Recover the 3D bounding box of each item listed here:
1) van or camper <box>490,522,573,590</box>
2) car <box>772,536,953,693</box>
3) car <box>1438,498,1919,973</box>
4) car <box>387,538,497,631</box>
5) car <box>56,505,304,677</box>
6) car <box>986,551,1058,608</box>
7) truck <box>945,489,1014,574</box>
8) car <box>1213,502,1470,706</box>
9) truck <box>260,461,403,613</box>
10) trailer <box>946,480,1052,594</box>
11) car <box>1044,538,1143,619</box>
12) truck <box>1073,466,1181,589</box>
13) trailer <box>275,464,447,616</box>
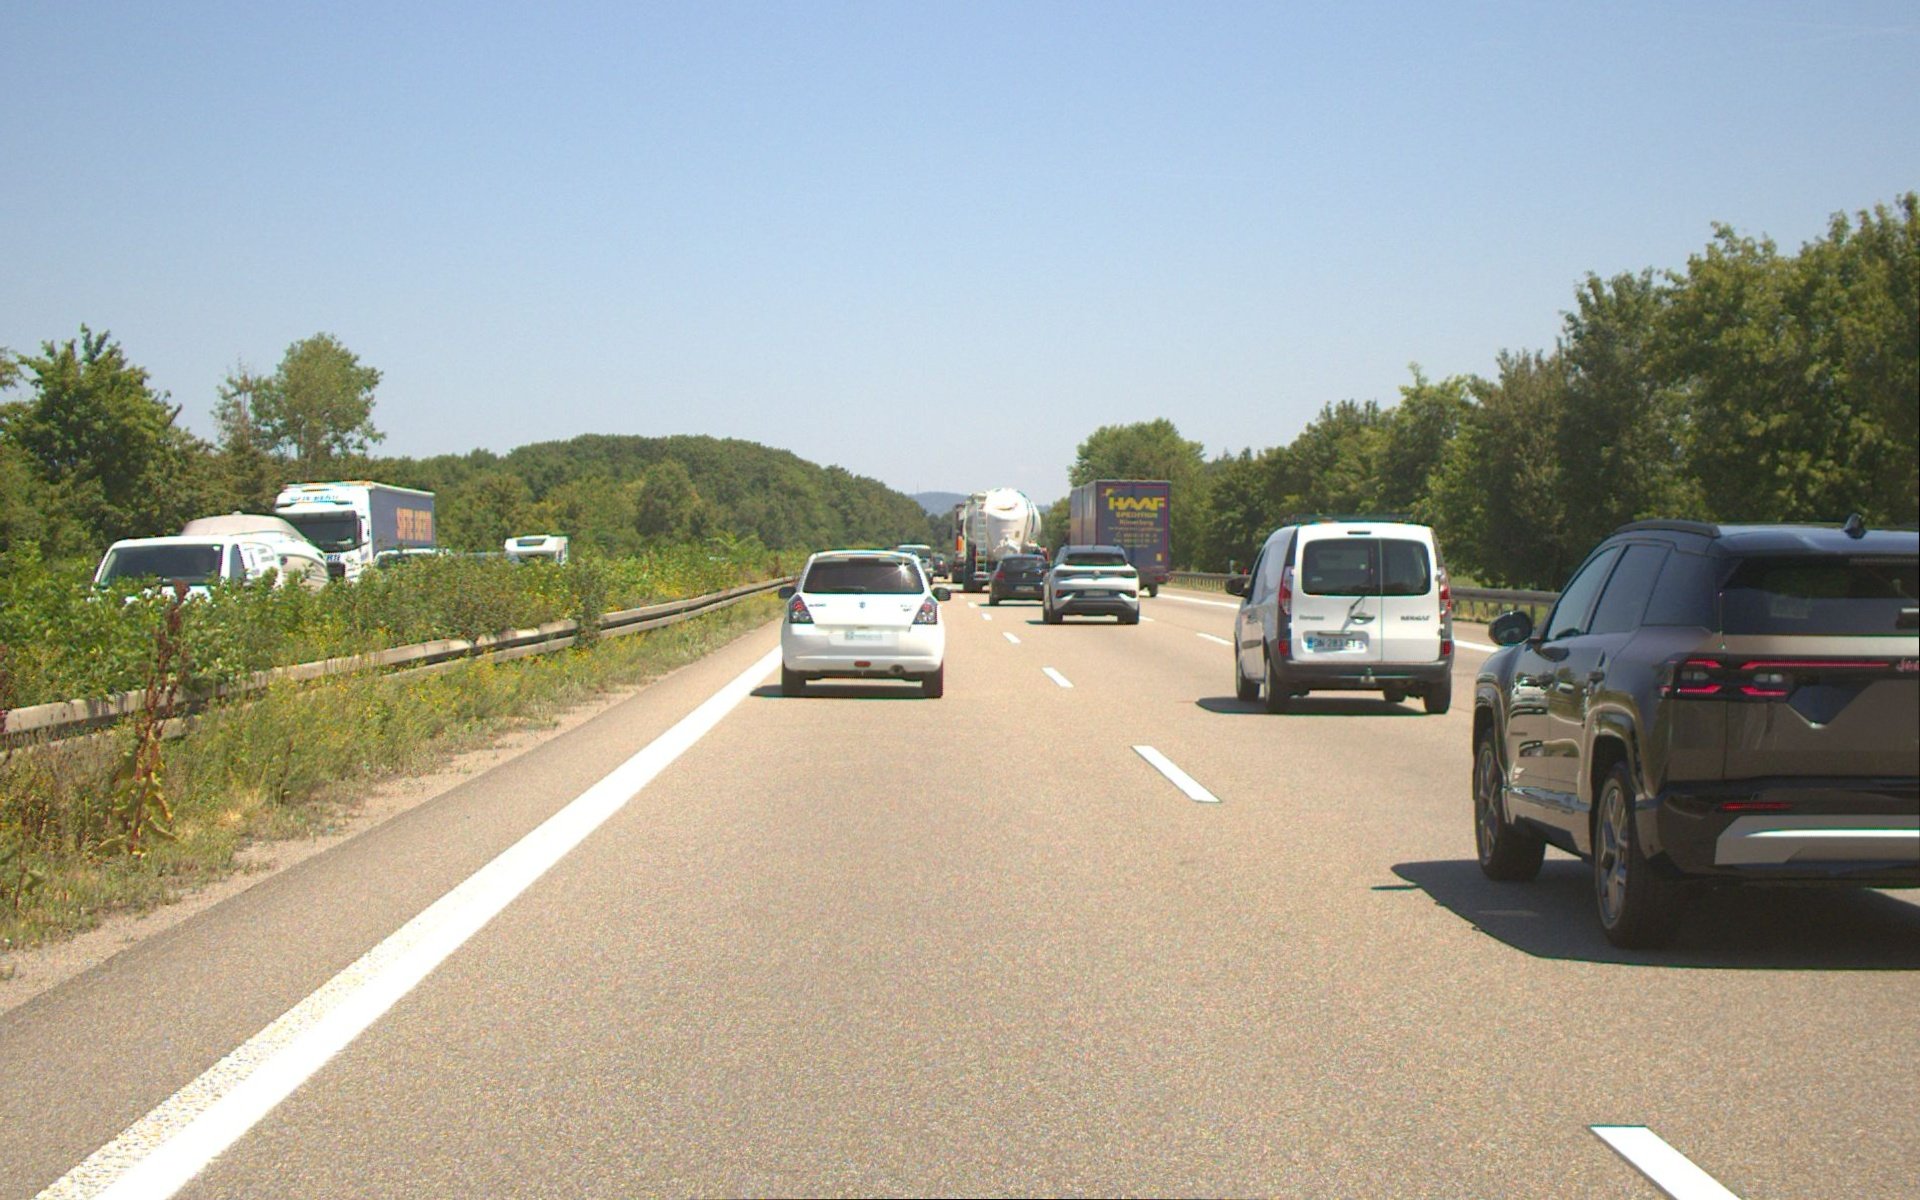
[{"bbox_3d":[-19.619,-2.030,157.773,2.850,2.959,7.447,-2,1,-1],"label":"van or camper"},{"bbox_3d":[-1.030,0.122,36.552,1.799,1.546,3.610,1,1,-1],"label":"car"},{"bbox_3d":[3.348,0.461,14.593,1.867,1.669,4.746,1,1,-1],"label":"car"},{"bbox_3d":[-11.959,-0.380,79.647,1.993,2.066,4.714,1,1,-3],"label":"car"},{"bbox_3d":[-9.868,-0.139,43.936,1.993,2.024,5.491,1,1,-1],"label":"car"},{"bbox_3d":[1.698,-0.590,95.573,1.850,1.518,3.957,1,1,-1],"label":"car"},{"bbox_3d":[0.987,-3.488,177.719,3.394,4.199,12.083,1,1,0],"label":"truck"},{"bbox_3d":[3.708,0.005,34.226,1.853,1.856,4.703,1,1,-2],"label":"car"},{"bbox_3d":[-18.318,-1.776,100.627,3.006,4.197,6.311,-2,-1,-1],"label":"truck"},{"bbox_3d":[1.380,-2.373,130.259,2.911,4.055,12.420,1,1,-4],"label":"trailer"},{"bbox_3d":[2.739,-0.467,71.318,1.802,1.597,4.381,1,1,-1],"label":"car"},{"bbox_3d":[5.952,-2.584,124.965,3.109,4.124,15.511,1,1,0],"label":"truck"},{"bbox_3d":[-18.370,-1.698,106.457,2.977,4.197,13.735,-2,-1,-1],"label":"trailer"}]
